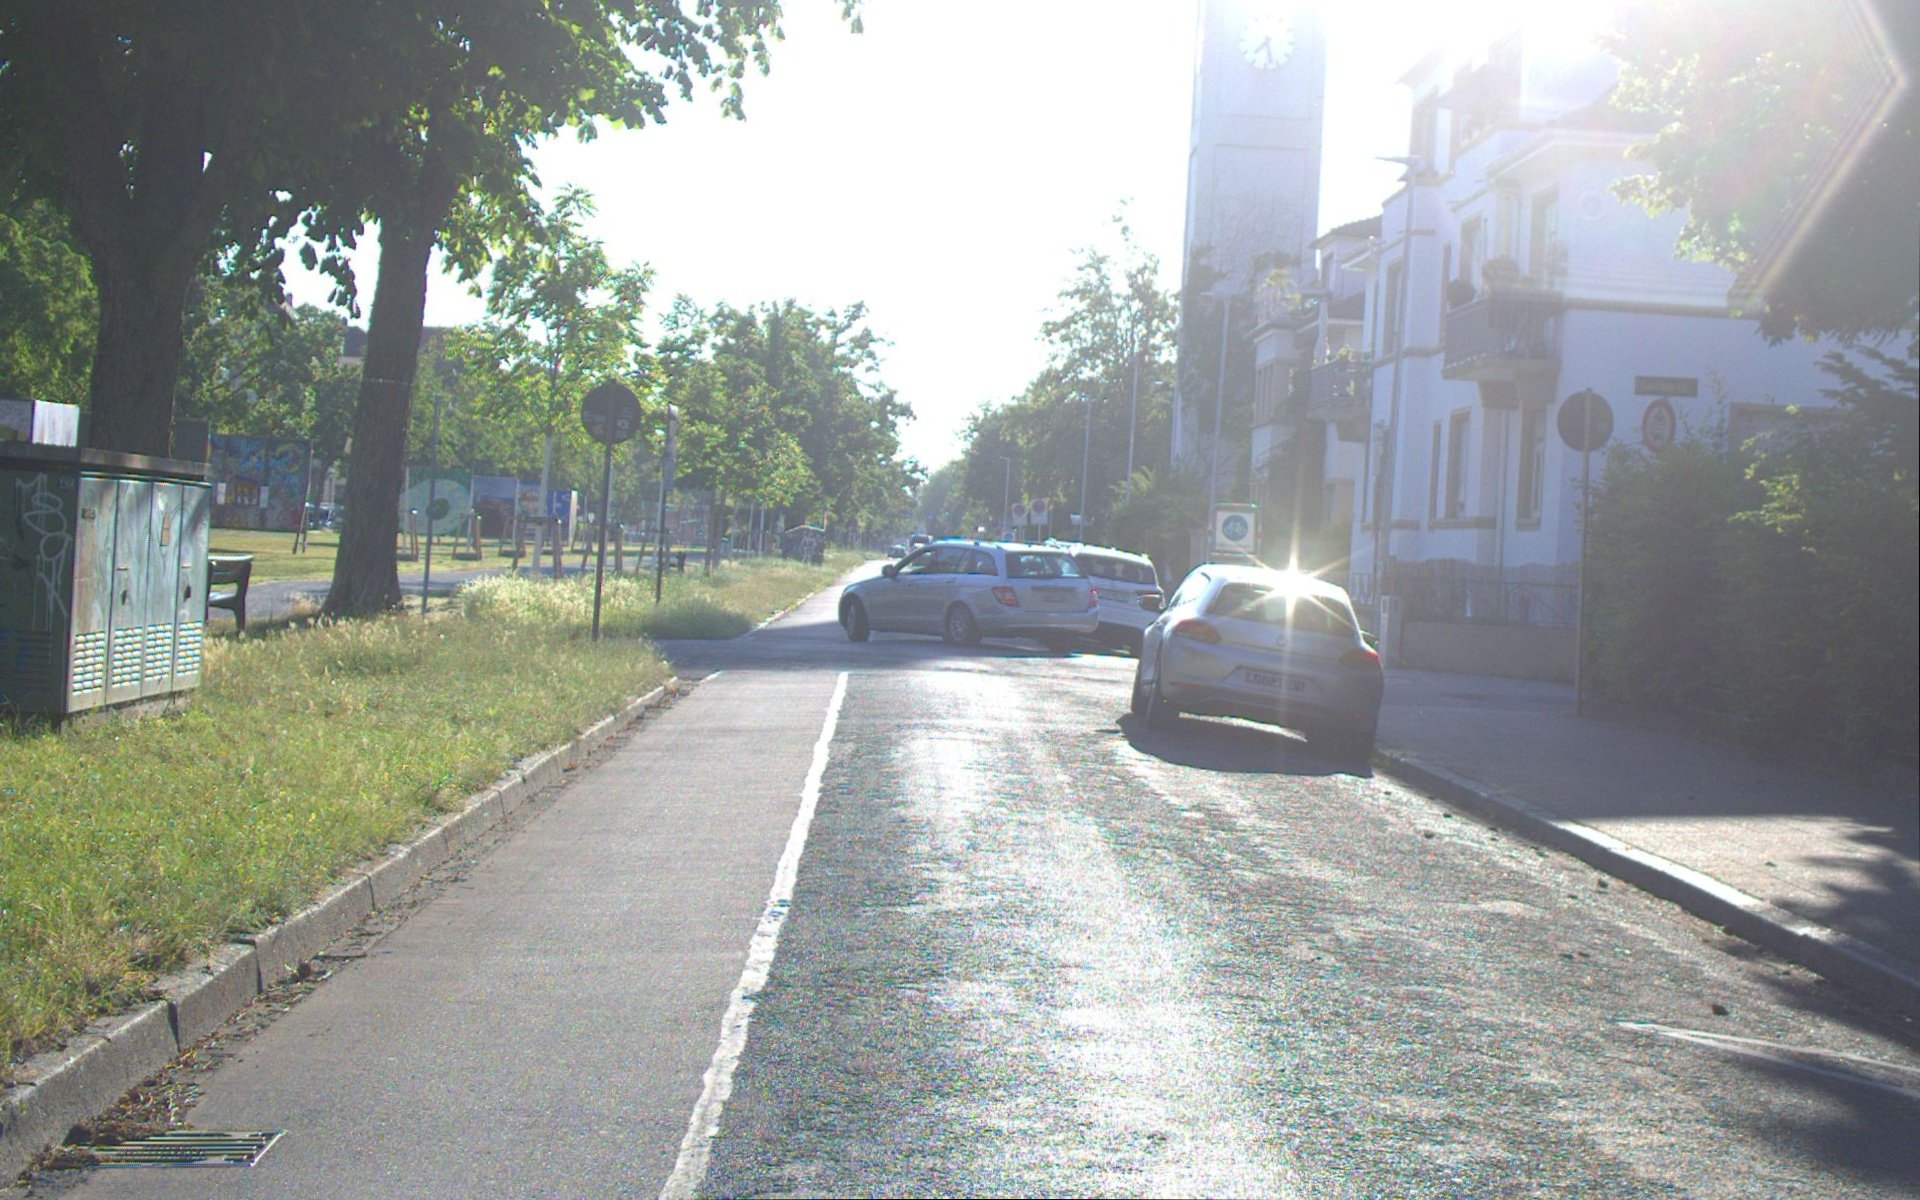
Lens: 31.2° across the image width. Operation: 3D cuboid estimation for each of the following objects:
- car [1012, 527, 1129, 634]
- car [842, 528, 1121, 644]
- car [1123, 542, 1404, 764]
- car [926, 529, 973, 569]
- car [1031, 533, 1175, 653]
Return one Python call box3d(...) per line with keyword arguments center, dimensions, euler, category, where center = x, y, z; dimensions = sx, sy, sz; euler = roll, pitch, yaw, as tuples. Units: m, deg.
box3d(center=(1.838, -0.366, 58.285), dimensions=(1.685, 1.645, 4.100), euler=(3, 1, -1), category="car")
box3d(center=(0.244, -0.226, 46.483), dimensions=(1.761, 1.415, 4.000), euler=(-1, 3, -35), category="car")
box3d(center=(2.442, 0.375, 28.602), dimensions=(1.757, 1.415, 4.072), euler=(9, 1, -1), category="car")
box3d(center=(-0.458, -2.287, 153.759), dimensions=(1.980, 1.677, 4.000), euler=(3, 1, 0), category="car")
box3d(center=(2.110, -0.145, 51.737), dimensions=(1.758, 1.599, 4.359), euler=(3, 2, -2), category="car")
